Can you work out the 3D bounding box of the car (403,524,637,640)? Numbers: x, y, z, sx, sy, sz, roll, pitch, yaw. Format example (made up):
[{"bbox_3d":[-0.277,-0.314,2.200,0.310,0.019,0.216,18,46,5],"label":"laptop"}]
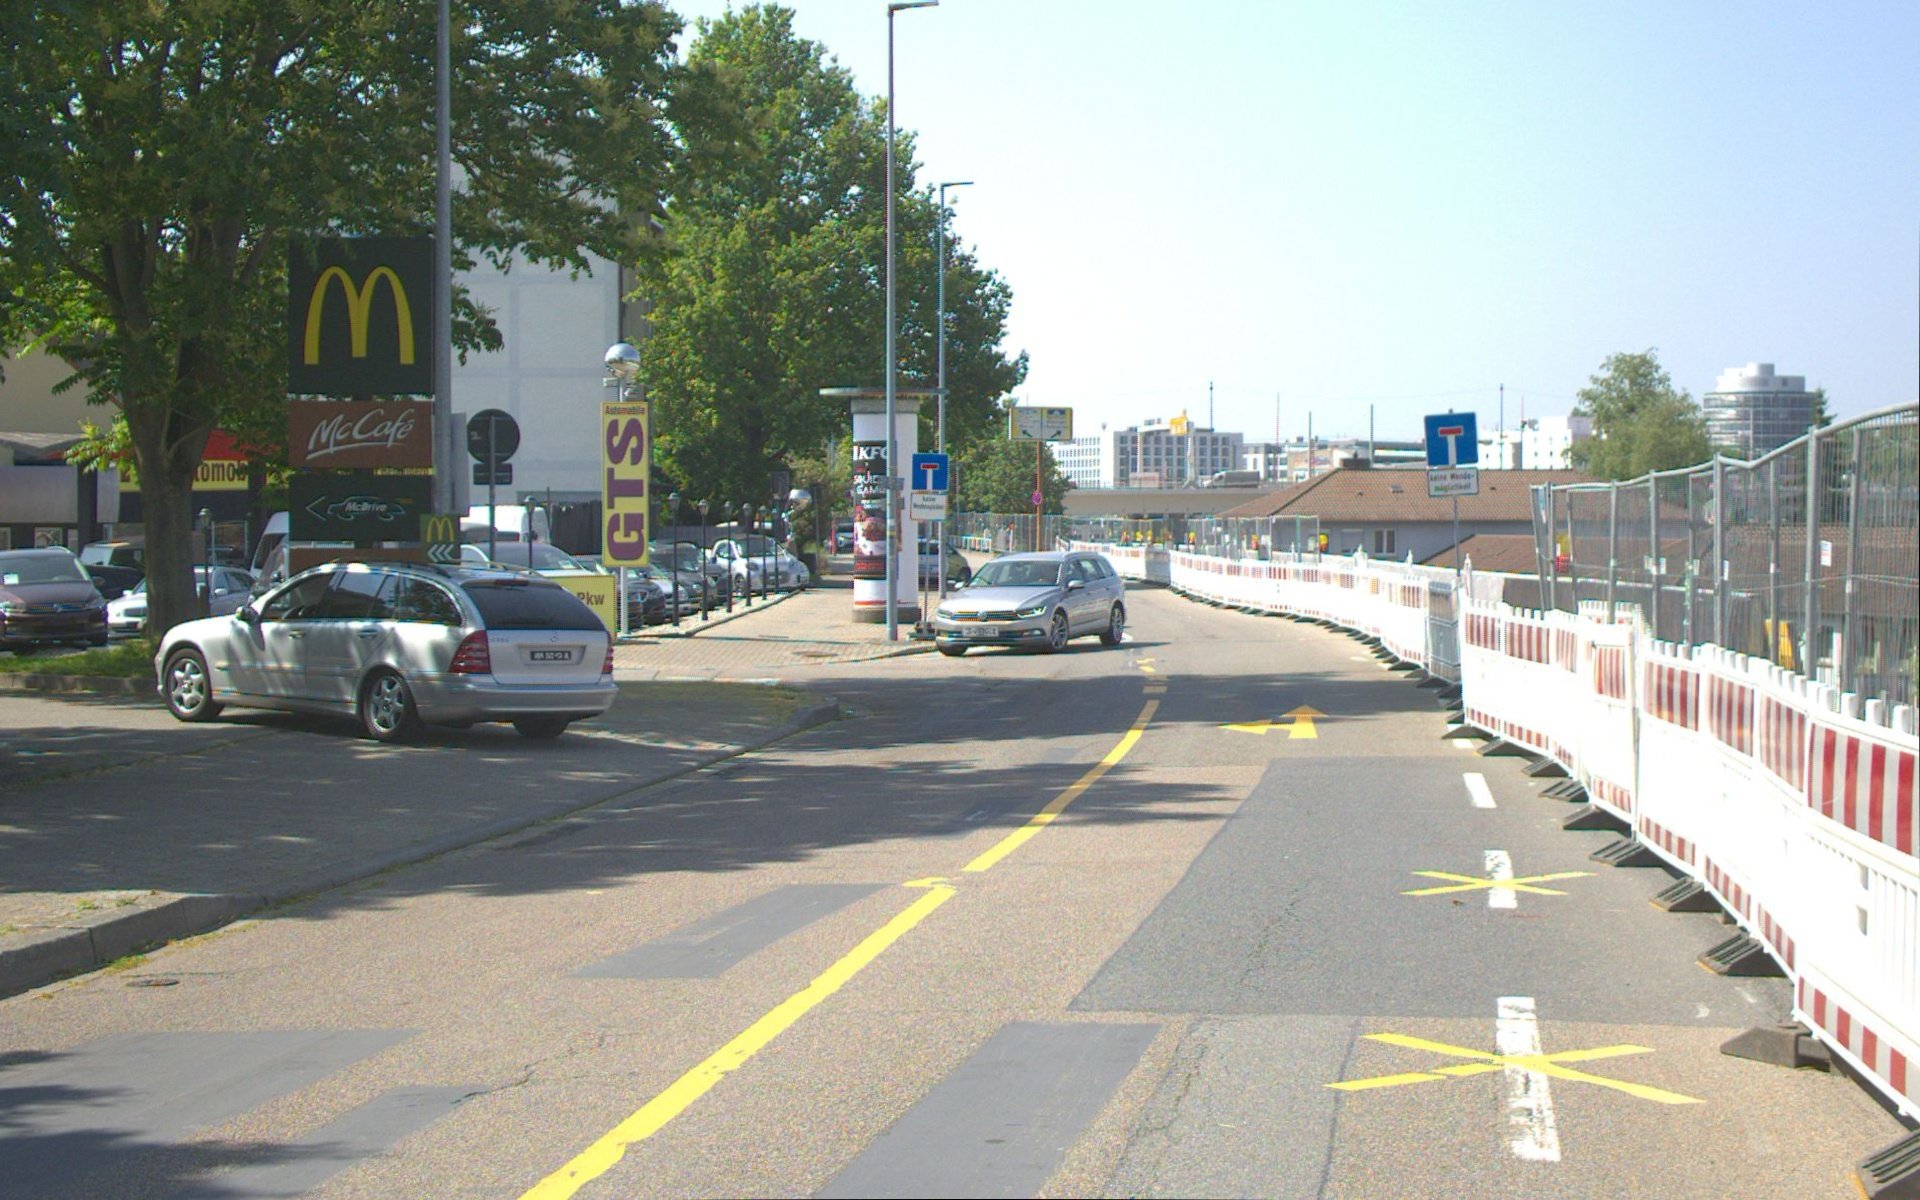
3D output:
[{"bbox_3d":[-7.470,-0.281,58.008,1.975,1.701,4.663,-3,-1,-34],"label":"car"}]

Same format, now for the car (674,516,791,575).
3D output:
[{"bbox_3d":[-7.848,-1.874,118.452,3.922,1.952,1.760,1,1,-7],"label":"car"}]

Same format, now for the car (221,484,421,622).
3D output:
[{"bbox_3d":[-13.329,-0.967,72.156,2.277,2.748,6.151,-1,0,8],"label":"car"}]

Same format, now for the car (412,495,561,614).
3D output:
[{"bbox_3d":[-10.383,-0.972,75.798,2.246,2.422,5.719,3,0,1],"label":"car"}]

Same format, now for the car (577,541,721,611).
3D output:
[{"bbox_3d":[-7.097,-0.540,78.064,1.667,1.468,4.000,-4,2,-30],"label":"car"}]

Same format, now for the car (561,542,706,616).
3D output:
[{"bbox_3d":[-7.063,-0.443,74.042,1.779,1.468,4.001,-4,1,-25],"label":"car"}]

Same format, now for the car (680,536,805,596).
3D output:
[{"bbox_3d":[-5.761,-0.900,90.734,1.776,1.468,4.000,-3,2,-27],"label":"car"}]

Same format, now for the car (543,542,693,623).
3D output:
[{"bbox_3d":[-6.846,-0.354,68.504,1.836,1.468,4.001,-3,2,-22],"label":"car"}]

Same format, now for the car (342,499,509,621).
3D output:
[{"bbox_3d":[-10.747,-0.771,69.460,2.246,2.342,4.823,-1,0,5],"label":"car"}]

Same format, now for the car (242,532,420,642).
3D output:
[{"bbox_3d":[-10.417,-0.186,56.735,2.042,1.701,4.316,-1,0,-22],"label":"car"}]

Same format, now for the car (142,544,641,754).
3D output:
[{"bbox_3d":[-4.694,0.335,27.997,4.384,1.399,1.710,4,4,44],"label":"car"}]

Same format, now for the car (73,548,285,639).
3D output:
[{"bbox_3d":[-14.373,-0.145,63.555,1.910,1.569,4.684,0,1,14],"label":"car"}]

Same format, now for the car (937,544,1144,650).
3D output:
[{"bbox_3d":[1.272,-0.076,51.911,1.679,1.488,4.601,-1,1,21],"label":"car"}]

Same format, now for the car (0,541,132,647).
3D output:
[{"bbox_3d":[-15.255,-0.125,57.671,1.804,1.650,4.316,-2,1,-24],"label":"car"}]

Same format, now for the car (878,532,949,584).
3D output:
[{"bbox_3d":[-1.409,-1.308,106.430,1.869,1.493,4.031,-1,2,3],"label":"car"}]
